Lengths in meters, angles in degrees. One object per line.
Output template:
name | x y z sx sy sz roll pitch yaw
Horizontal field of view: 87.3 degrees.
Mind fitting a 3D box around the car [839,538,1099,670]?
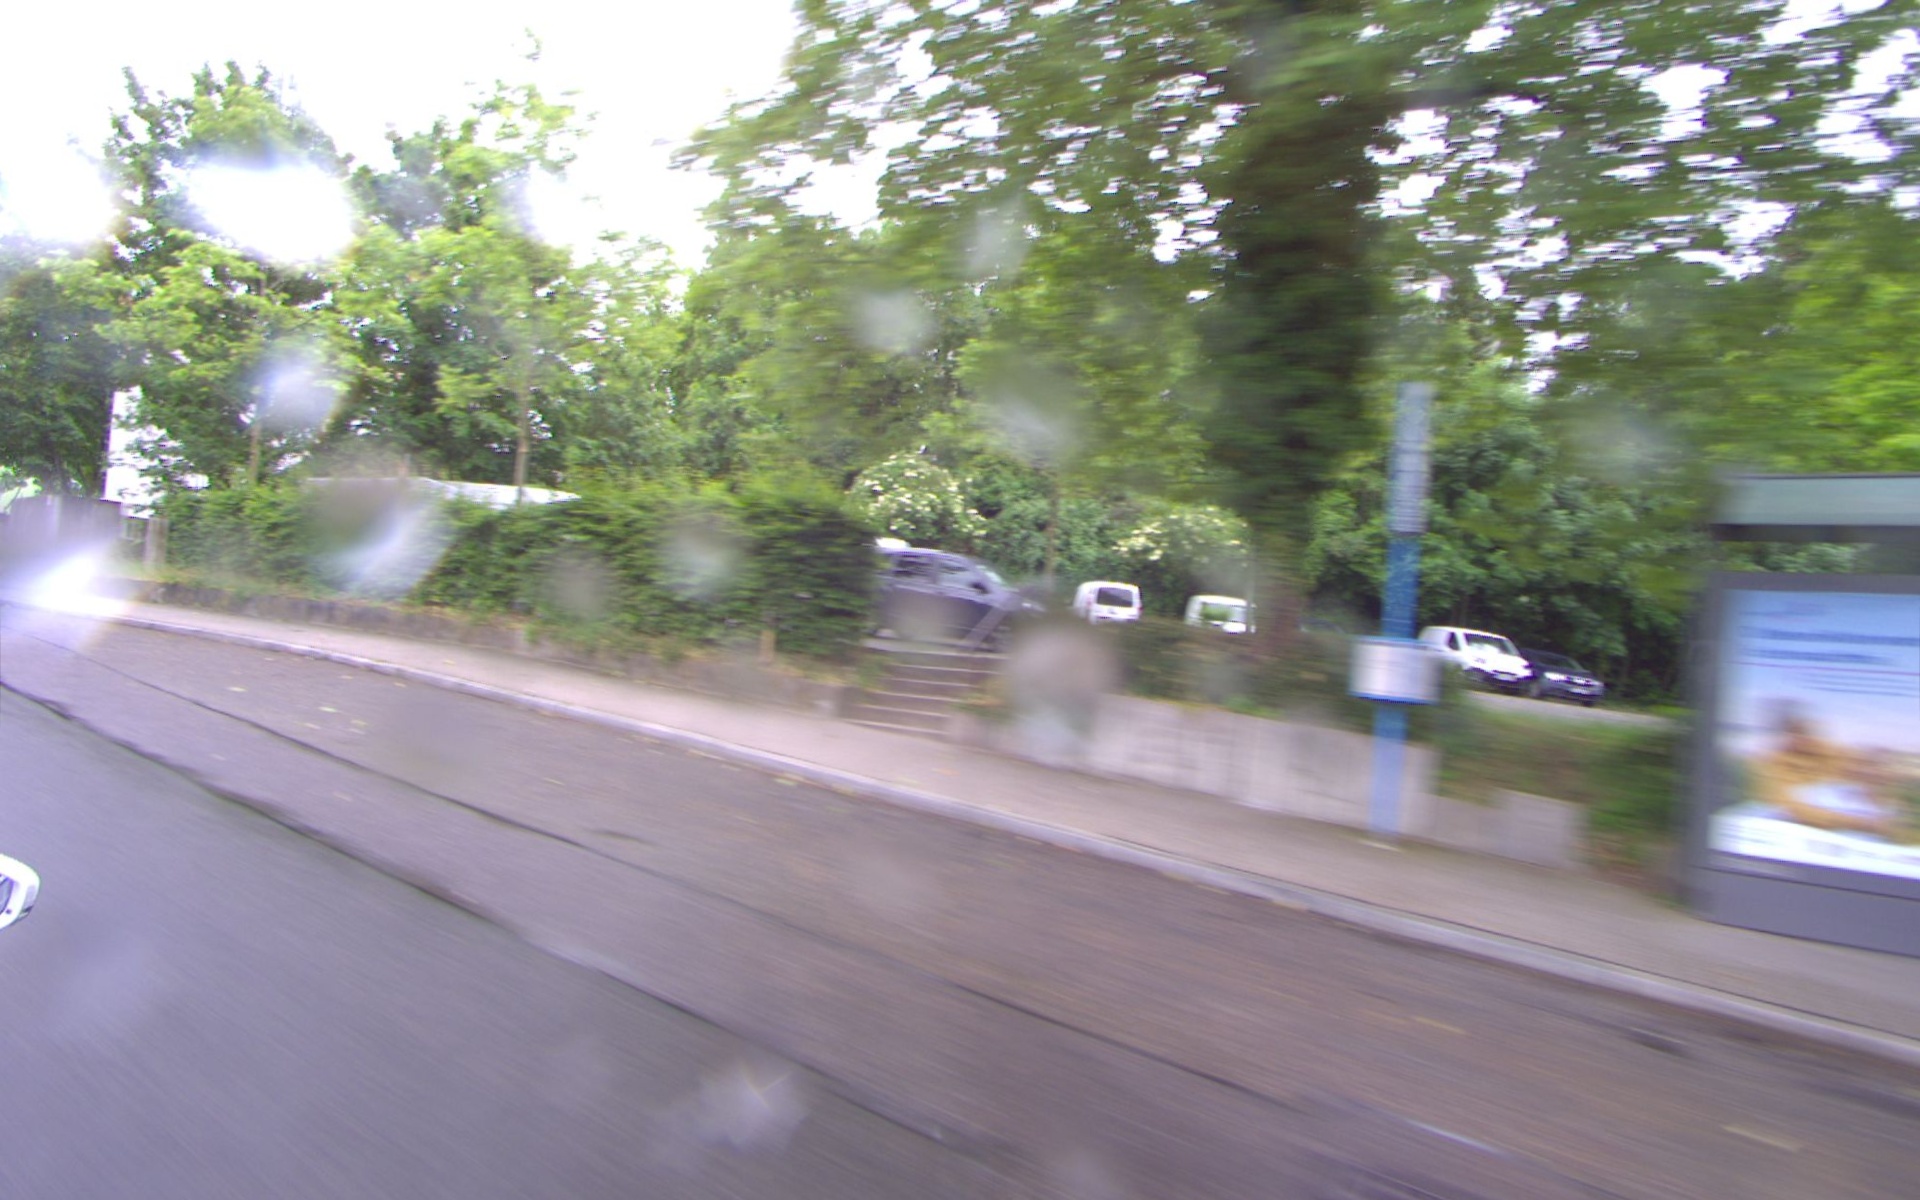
car | 0.149 0.068 18.057 4.097 1.600 1.828 9 -3 27

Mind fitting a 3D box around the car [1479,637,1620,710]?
car | 17.924 2.195 30.831 1.770 1.789 4.184 10 -2 3

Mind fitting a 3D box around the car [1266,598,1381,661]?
car | 10.923 0.907 30.563 1.771 1.493 4.182 10 -2 0

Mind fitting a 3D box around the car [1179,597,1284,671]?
car | 8.159 1.044 30.606 1.771 1.789 4.182 10 -2 0

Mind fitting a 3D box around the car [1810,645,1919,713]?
car | 28.486 2.395 30.499 1.770 1.789 4.184 10 -2 3

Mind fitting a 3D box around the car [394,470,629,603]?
car | -10.643 -1.511 23.868 4.926 2.310 2.051 9 -1 23

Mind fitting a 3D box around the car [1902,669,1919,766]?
car | 16.103 1.968 13.829 4.099 1.469 1.901 9 -2 28

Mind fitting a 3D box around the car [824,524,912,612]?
car | -2.684 -0.862 30.719 1.963 2.036 5.207 10 -2 0

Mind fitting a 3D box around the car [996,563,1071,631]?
car | 2.232 -0.015 31.497 1.771 1.683 4.182 10 -2 0

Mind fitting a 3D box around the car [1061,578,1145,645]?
car | 4.402 0.419 31.547 1.771 1.683 4.182 10 -2 0

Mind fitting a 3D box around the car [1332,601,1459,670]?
car | 13.106 1.083 30.567 1.771 1.683 4.182 10 -2 0

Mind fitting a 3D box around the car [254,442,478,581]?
car | -12.648 -1.887 21.430 4.060 2.253 1.999 9 0 26

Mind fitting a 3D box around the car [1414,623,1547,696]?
car | 15.646 1.780 30.488 1.770 1.789 4.184 10 -2 3
